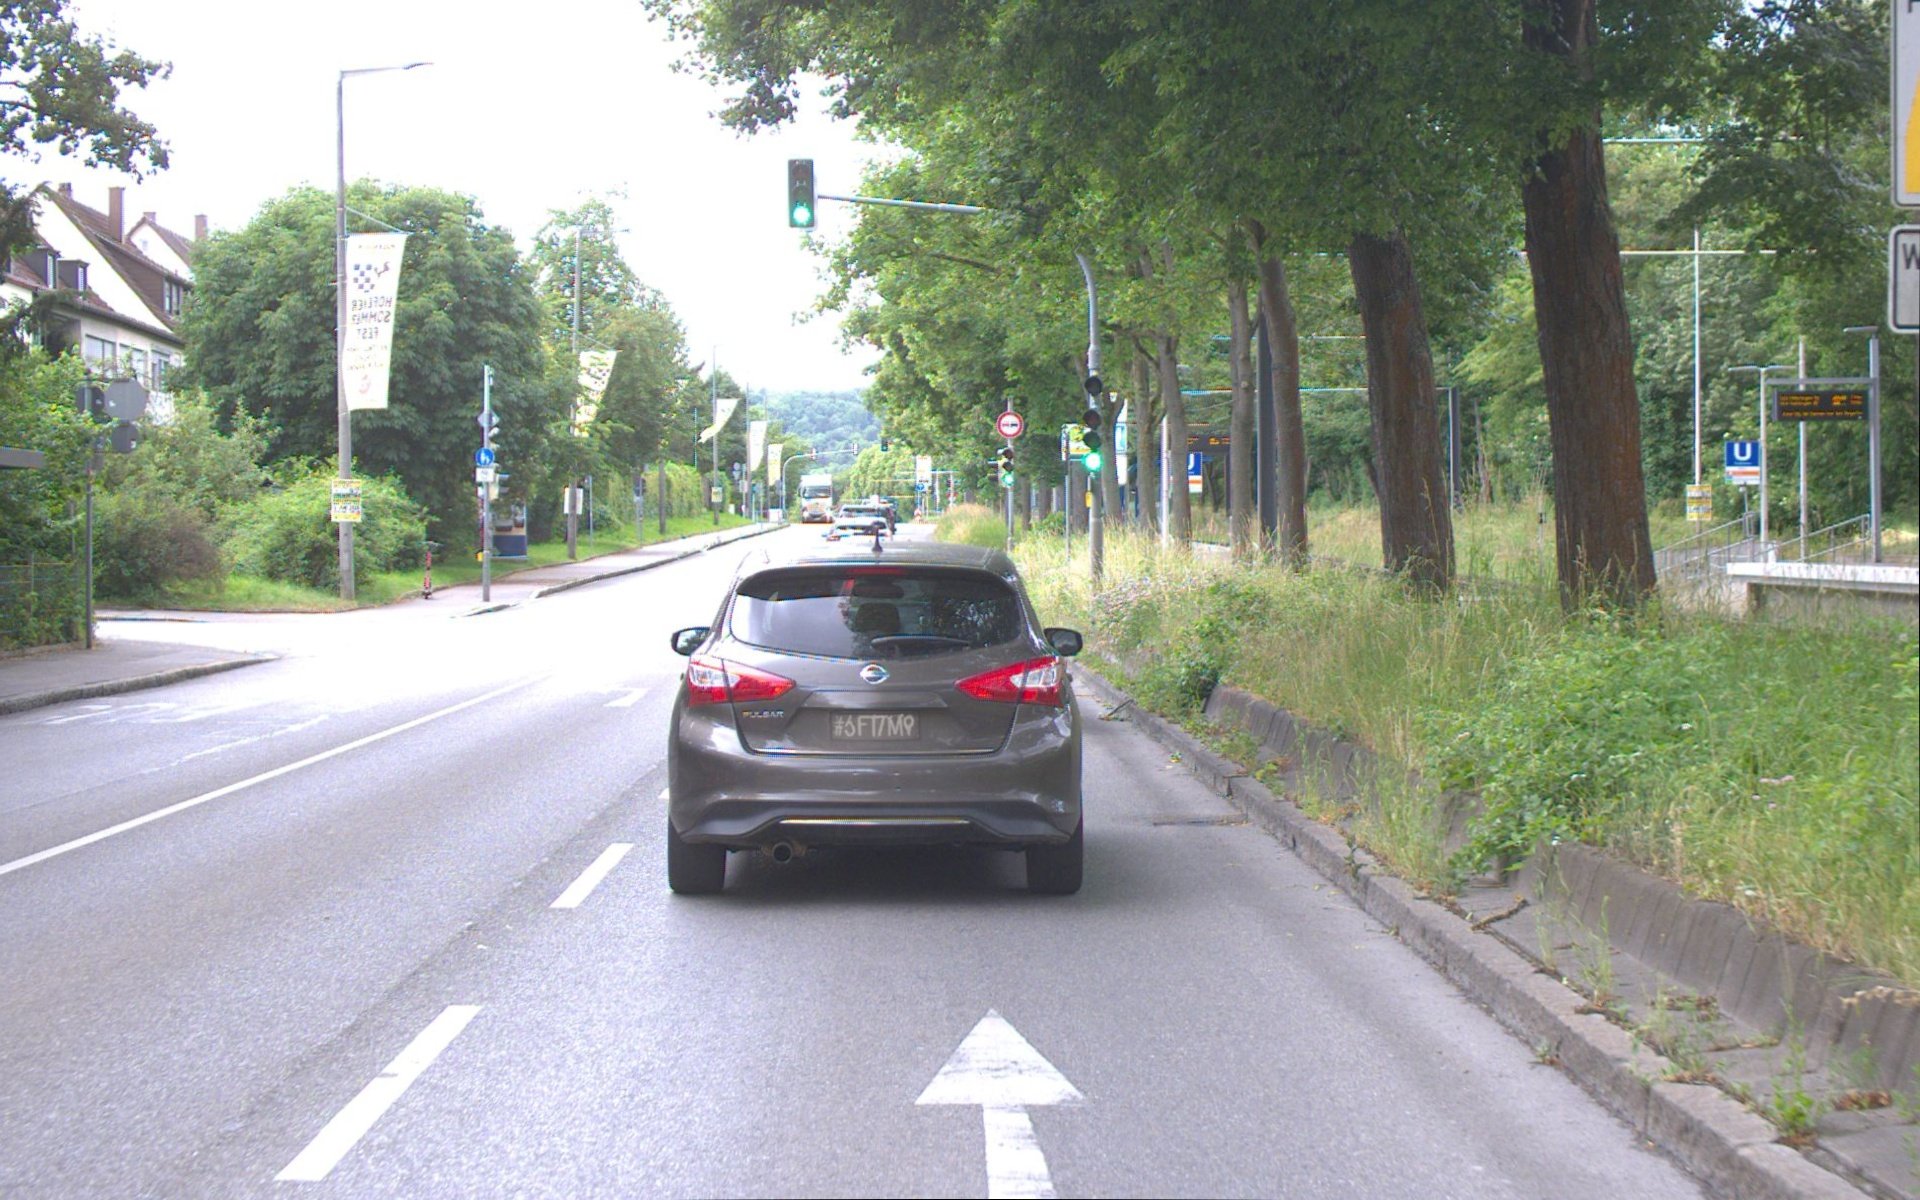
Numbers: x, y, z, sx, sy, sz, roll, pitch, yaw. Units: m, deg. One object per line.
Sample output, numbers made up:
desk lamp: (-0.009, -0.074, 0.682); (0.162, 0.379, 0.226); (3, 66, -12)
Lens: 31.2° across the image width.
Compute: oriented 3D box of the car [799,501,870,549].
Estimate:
car: (-3.743, -2.222, 102.827); (1.993, 1.316, 4.000); (2, 1, -1)

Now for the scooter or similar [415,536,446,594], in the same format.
scooter or similar: (-11.737, -0.782, 76.204); (0.462, 1.254, 1.426); (0, 1, 0)

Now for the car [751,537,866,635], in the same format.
car: (-2.312, -0.239, 53.201); (1.691, 1.436, 3.542); (0, 1, -1)

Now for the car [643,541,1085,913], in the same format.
car: (-0.407, 0.482, 15.727); (1.783, 1.501, 3.696); (0, 1, -1)

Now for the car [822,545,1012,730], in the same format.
car: (-0.381, 0.269, 29.119); (1.502, 1.436, 3.542); (0, 1, -1)

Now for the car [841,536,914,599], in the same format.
car: (-1.957, -0.795, 81.751); (1.691, 1.436, 3.542); (0, 1, -1)

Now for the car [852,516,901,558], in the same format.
car: (-2.939, -2.233, 121.147); (1.691, 1.436, 3.542); (0, 1, -1)
